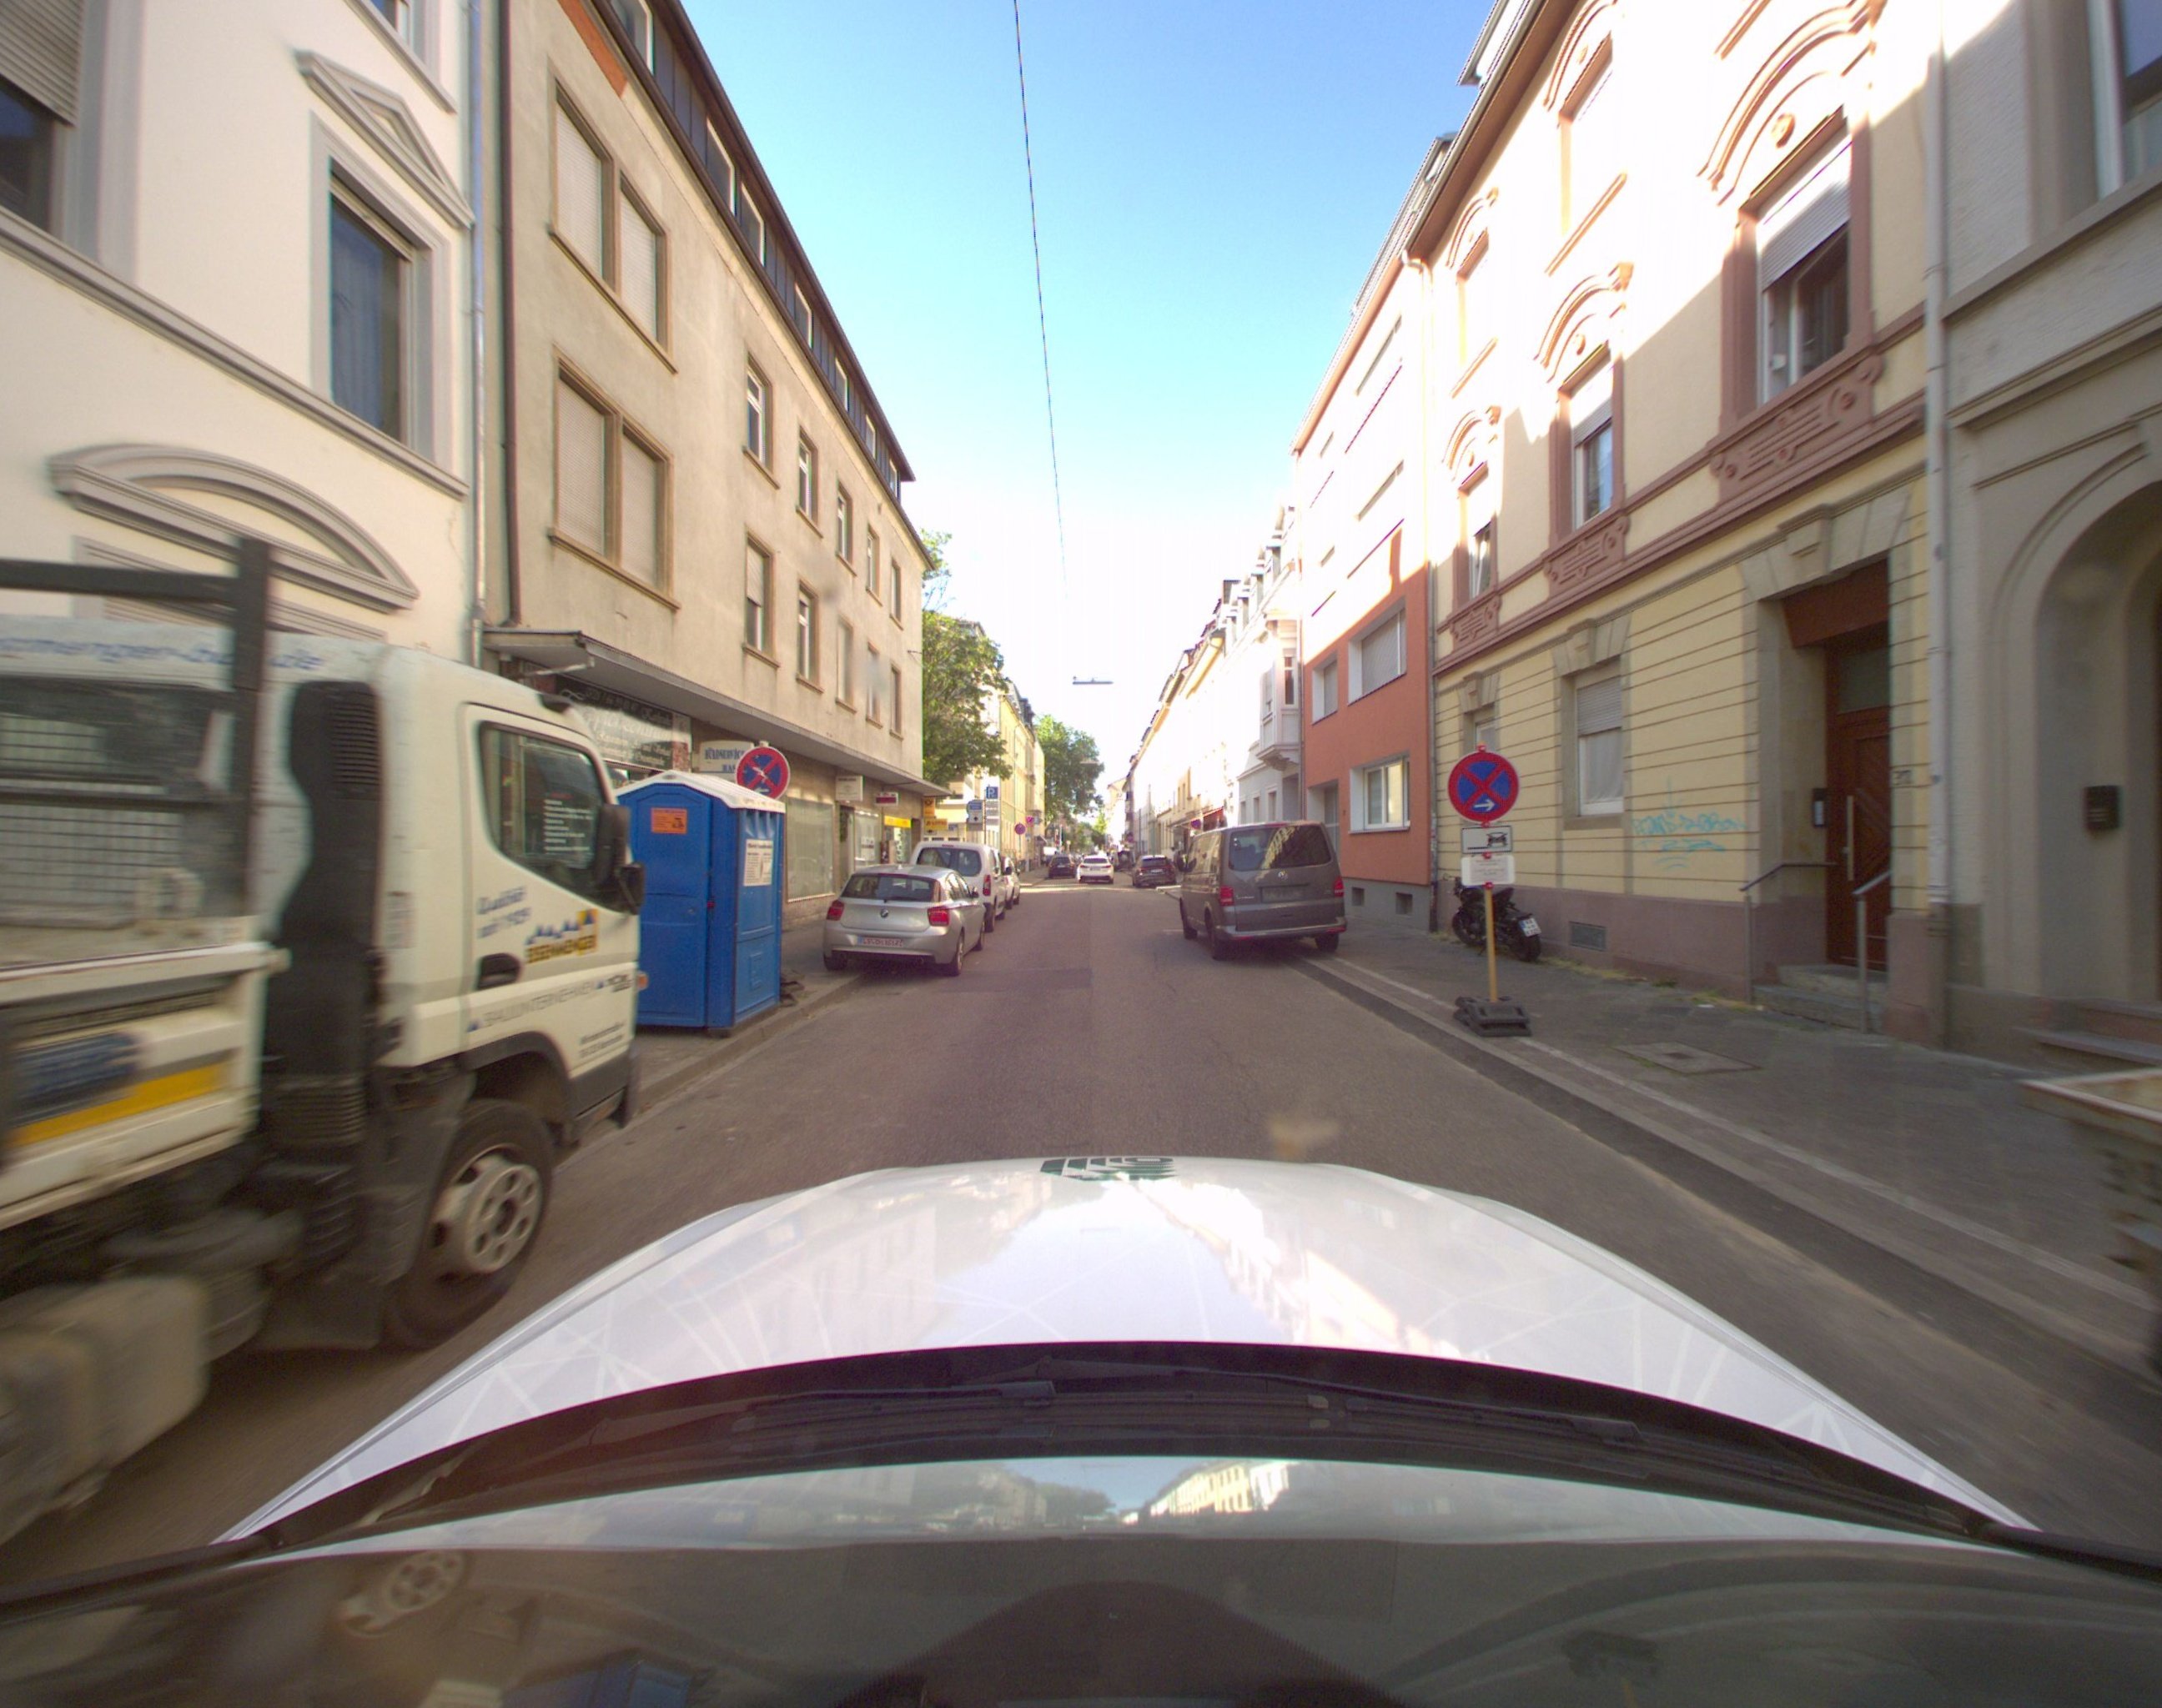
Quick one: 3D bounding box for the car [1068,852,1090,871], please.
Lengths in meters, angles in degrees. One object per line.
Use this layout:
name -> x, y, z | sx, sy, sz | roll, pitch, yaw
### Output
car -> -0.204, 0.619, 70.387 | 1.862, 1.561, 4.518 | 0, -1, -1

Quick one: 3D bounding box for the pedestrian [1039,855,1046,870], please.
pedestrian -> -3.730, 0.840, 78.372 | 0.625, 1.464, 0.575 | -1, -2, 1

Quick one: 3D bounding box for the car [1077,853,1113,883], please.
car -> 0.768, 0.701, 42.749 | 1.827, 1.486, 4.058 | 0, 0, 2

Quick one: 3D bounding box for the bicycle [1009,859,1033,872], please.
bicycle -> -4.871, 0.941, 66.563 | 1.962, 1.115, 0.507 | 0, 0, -34

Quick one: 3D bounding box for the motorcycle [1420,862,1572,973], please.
motorcycle -> 5.288, 0.734, 10.626 | 0.594, 1.186, 2.761 | -5, 0, 2

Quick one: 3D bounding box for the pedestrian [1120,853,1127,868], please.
pedestrian -> 3.984, 0.605, 77.077 | 0.625, 1.464, 0.575 | -1, -2, 1

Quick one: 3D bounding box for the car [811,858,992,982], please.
car -> -2.407, 0.815, 11.949 | 1.753, 1.415, 3.999 | -2, 0, -1

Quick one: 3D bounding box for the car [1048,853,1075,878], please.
car -> -1.235, 0.731, 53.179 | 1.619, 1.597, 3.581 | 0, 0, 1

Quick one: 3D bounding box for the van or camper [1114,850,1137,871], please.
van or camper -> 4.106, 0.613, 75.695 | 1.986, 1.926, 4.000 | -1, -1, 1

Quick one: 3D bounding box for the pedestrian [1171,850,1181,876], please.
pedestrian -> 6.244, 0.580, 53.577 | 0.524, 1.727, 0.492 | -1, -2, 16

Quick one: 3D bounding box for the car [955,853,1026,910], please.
car -> -2.648, 0.765, 24.457 | 1.641, 1.576, 3.680 | 0, 0, 1

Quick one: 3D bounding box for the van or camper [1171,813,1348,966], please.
van or camper -> 2.705, 0.501, 13.457 | 1.770, 2.036, 4.567 | -2, 0, -1

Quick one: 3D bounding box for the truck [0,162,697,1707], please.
truck -> -2.768, 0.186, 0.780 | 2.152, 2.590, 6.240 | 0, -1, -4

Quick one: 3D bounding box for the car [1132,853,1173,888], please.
car -> 3.301, 0.729, 38.028 | 1.641, 1.576, 3.680 | 0, 0, 1

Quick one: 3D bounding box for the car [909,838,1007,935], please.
car -> -2.567, 0.629, 17.826 | 1.643, 1.868, 3.997 | 0, 0, -2

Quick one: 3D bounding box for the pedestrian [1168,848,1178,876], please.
pedestrian -> 5.801, 0.522, 51.446 | 0.524, 1.727, 0.492 | -1, -2, 16
